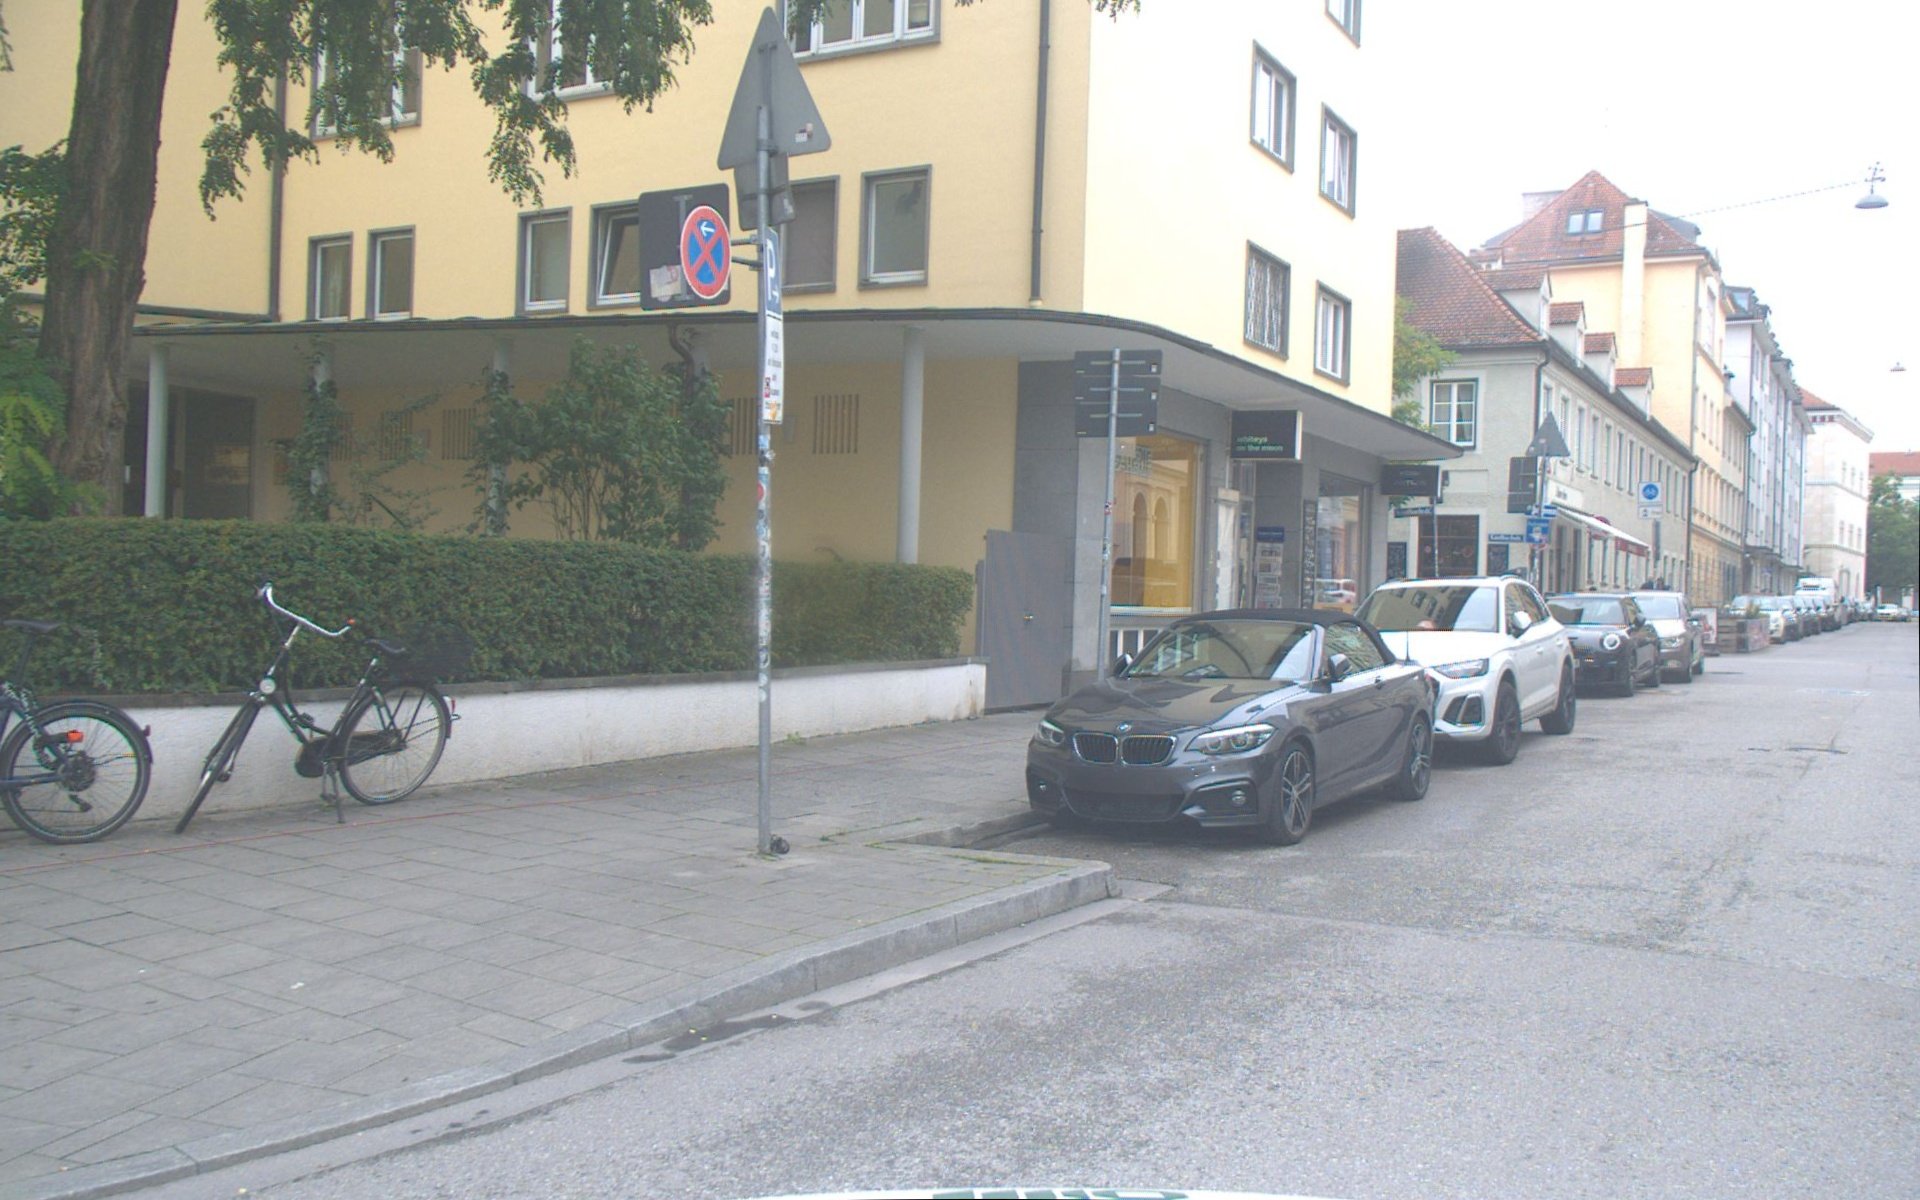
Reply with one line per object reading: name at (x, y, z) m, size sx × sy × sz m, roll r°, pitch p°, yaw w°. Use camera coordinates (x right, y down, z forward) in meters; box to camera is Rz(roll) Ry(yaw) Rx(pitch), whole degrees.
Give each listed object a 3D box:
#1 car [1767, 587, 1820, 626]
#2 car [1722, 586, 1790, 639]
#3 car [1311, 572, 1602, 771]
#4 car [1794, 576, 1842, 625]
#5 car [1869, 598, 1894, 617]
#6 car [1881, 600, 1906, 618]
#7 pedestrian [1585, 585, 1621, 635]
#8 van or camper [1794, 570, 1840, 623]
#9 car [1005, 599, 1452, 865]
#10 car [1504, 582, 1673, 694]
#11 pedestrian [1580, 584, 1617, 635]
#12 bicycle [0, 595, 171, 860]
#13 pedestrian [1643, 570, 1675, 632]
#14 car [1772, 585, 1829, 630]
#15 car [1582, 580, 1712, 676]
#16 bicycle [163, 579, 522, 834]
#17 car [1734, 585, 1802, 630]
car at (32.639, 0.243, 64.782) m, size 1.781 × 1.467 × 4.127 m, roll 1°, pitch 1°, yaw 27°
car at (24.482, 0.361, 50.817) m, size 1.721 × 1.500 × 3.709 m, roll 3°, pitch 1°, yaw 27°
car at (4.961, 0.560, 16.109) m, size 1.769 × 1.611 × 4.330 m, roll 0°, pitch 1°, yaw 30°
car at (37.946, 0.029, 73.182) m, size 1.720 × 2.029 × 4.621 m, roll 2°, pitch 1°, yaw 26°
car at (79.753, 0.629, 143.123) m, size 1.676 × 1.609 × 3.852 m, roll 1°, pitch 0°, yaw 33°
car at (83.525, 0.787, 147.992) m, size 1.676 × 1.609 × 3.852 m, roll 1°, pitch 0°, yaw 33°
pedestrian at (17.389, 0.276, 44.709) m, size 0.788 × 1.312 × 0.692 m, roll 1°, pitch -1°, yaw 31°
van or camper at (40.407, -0.158, 77.913) m, size 1.722 × 2.321 × 5.264 m, roll 2°, pitch 1°, yaw 29°
car at (2.032, 0.735, 11.427) m, size 1.713 × 1.435 × 4.090 m, roll 0°, pitch 1°, yaw 30°
car at (9.359, 0.497, 24.455) m, size 1.648 × 1.497 × 4.088 m, roll 0°, pitch 0°, yaw 31°
pedestrian at (17.009, 0.255, 44.071) m, size 0.788 × 1.312 × 0.692 m, roll 1°, pitch -1°, yaw 31°
bicycle at (-4.775, 0.555, 7.271) m, size 2.272 × 1.145 × 0.576 m, roll 1°, pitch 2°, yaw -36°
pedestrian at (22.458, 0.032, 53.151) m, size 0.807 × 1.931 × 0.826 m, roll 1°, pitch -1°, yaw 30°
car at (30.516, 0.278, 60.030) m, size 1.721 × 1.522 × 4.195 m, roll 2°, pitch 1°, yaw 28°
car at (11.880, 0.413, 28.443) m, size 1.647 × 1.497 × 4.944 m, roll 0°, pitch 0°, yaw 28°
bicycle at (-3.305, 0.526, 9.034) m, size 0.552 × 1.231 × 1.849 m, roll 3°, pitch 1°, yaw 33°
car at (27.075, 0.221, 55.340) m, size 1.765 × 1.362 × 4.677 m, roll 2°, pitch 2°, yaw 29°
